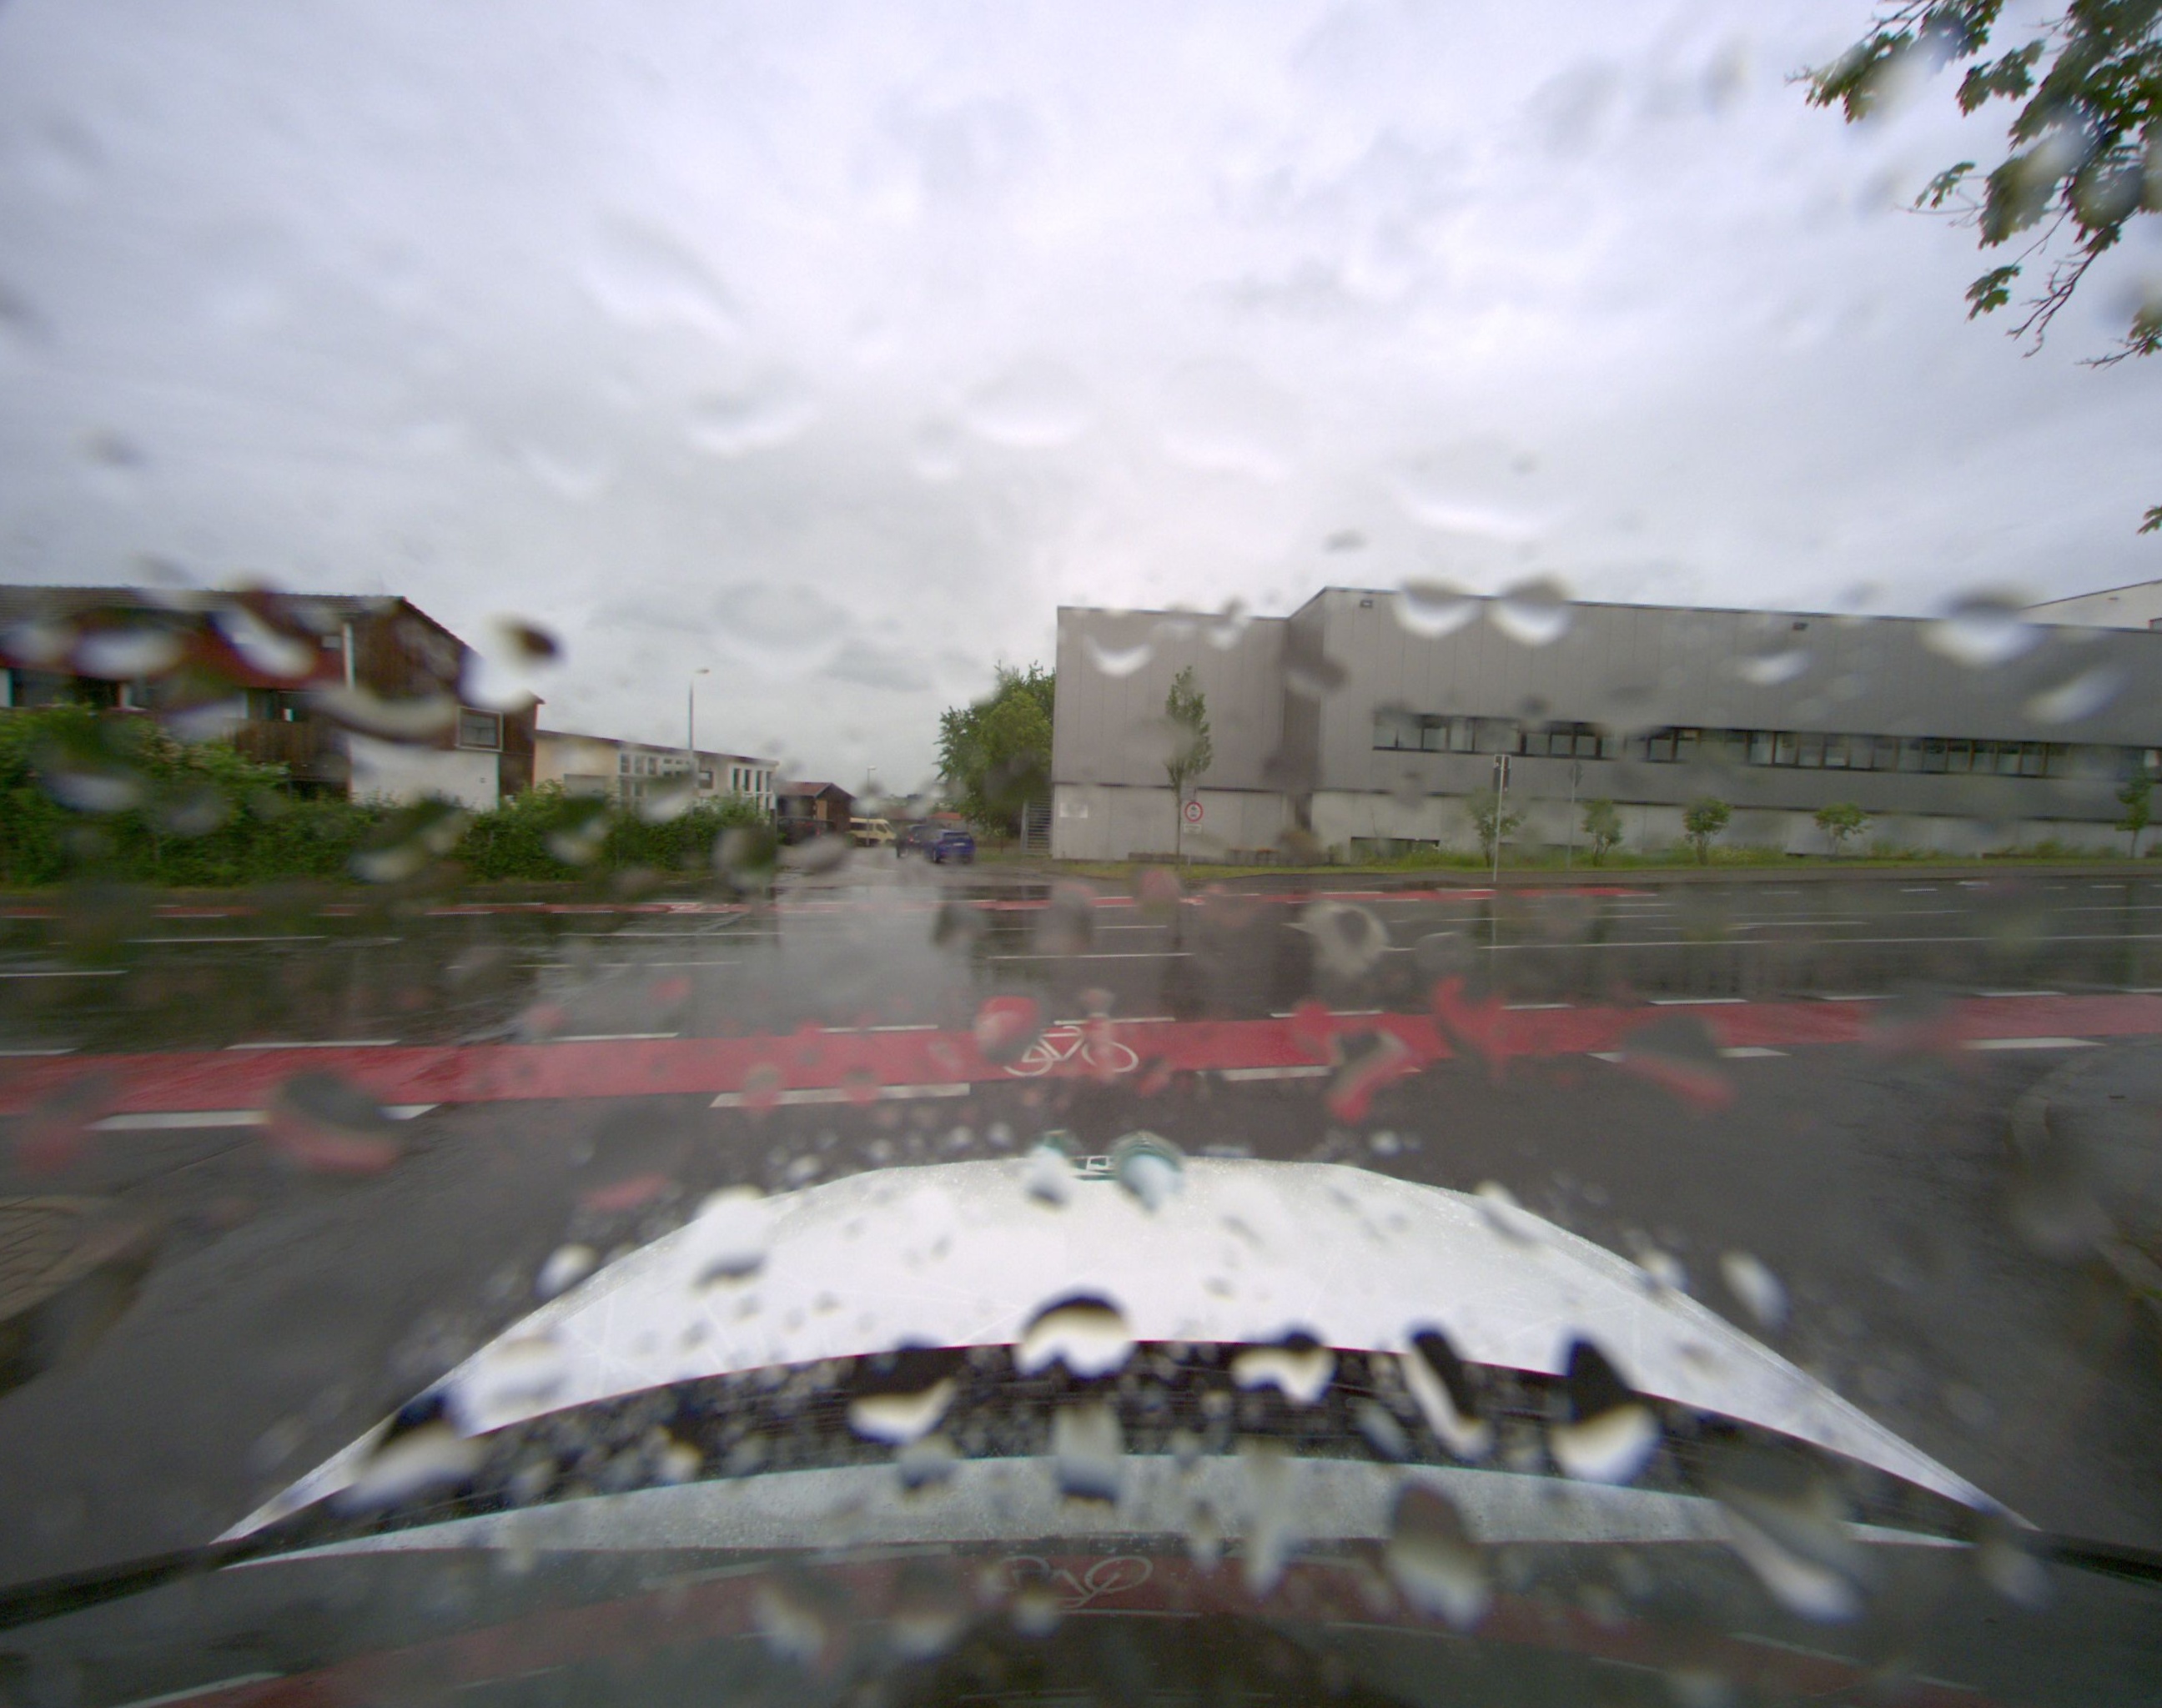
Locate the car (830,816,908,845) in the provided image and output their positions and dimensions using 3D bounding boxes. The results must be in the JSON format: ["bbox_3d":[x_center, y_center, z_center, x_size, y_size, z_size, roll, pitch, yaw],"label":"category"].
[{"bbox_3d":[-18.155,-2.006,69.894,5.982,2.415,2.466,0,1,3],"label":"car"}]

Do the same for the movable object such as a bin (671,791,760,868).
[{"bbox_3d":[-12.980,-0.856,29.109,1.728,2.556,3.337,0,1,-2],"label":"movable object such as a bin"}]

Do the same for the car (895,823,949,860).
[{"bbox_3d":[-8.396,-0.636,42.730,2.081,1.834,4.440,0,1,-21],"label":"car"}]

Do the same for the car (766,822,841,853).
[{"bbox_3d":[-17.692,-1.074,51.857,4.355,1.904,2.012,1,1,26],"label":"car"}]

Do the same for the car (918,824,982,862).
[{"bbox_3d":[-6.006,-0.501,36.988,1.959,1.610,4.414,0,1,-22],"label":"car"}]
